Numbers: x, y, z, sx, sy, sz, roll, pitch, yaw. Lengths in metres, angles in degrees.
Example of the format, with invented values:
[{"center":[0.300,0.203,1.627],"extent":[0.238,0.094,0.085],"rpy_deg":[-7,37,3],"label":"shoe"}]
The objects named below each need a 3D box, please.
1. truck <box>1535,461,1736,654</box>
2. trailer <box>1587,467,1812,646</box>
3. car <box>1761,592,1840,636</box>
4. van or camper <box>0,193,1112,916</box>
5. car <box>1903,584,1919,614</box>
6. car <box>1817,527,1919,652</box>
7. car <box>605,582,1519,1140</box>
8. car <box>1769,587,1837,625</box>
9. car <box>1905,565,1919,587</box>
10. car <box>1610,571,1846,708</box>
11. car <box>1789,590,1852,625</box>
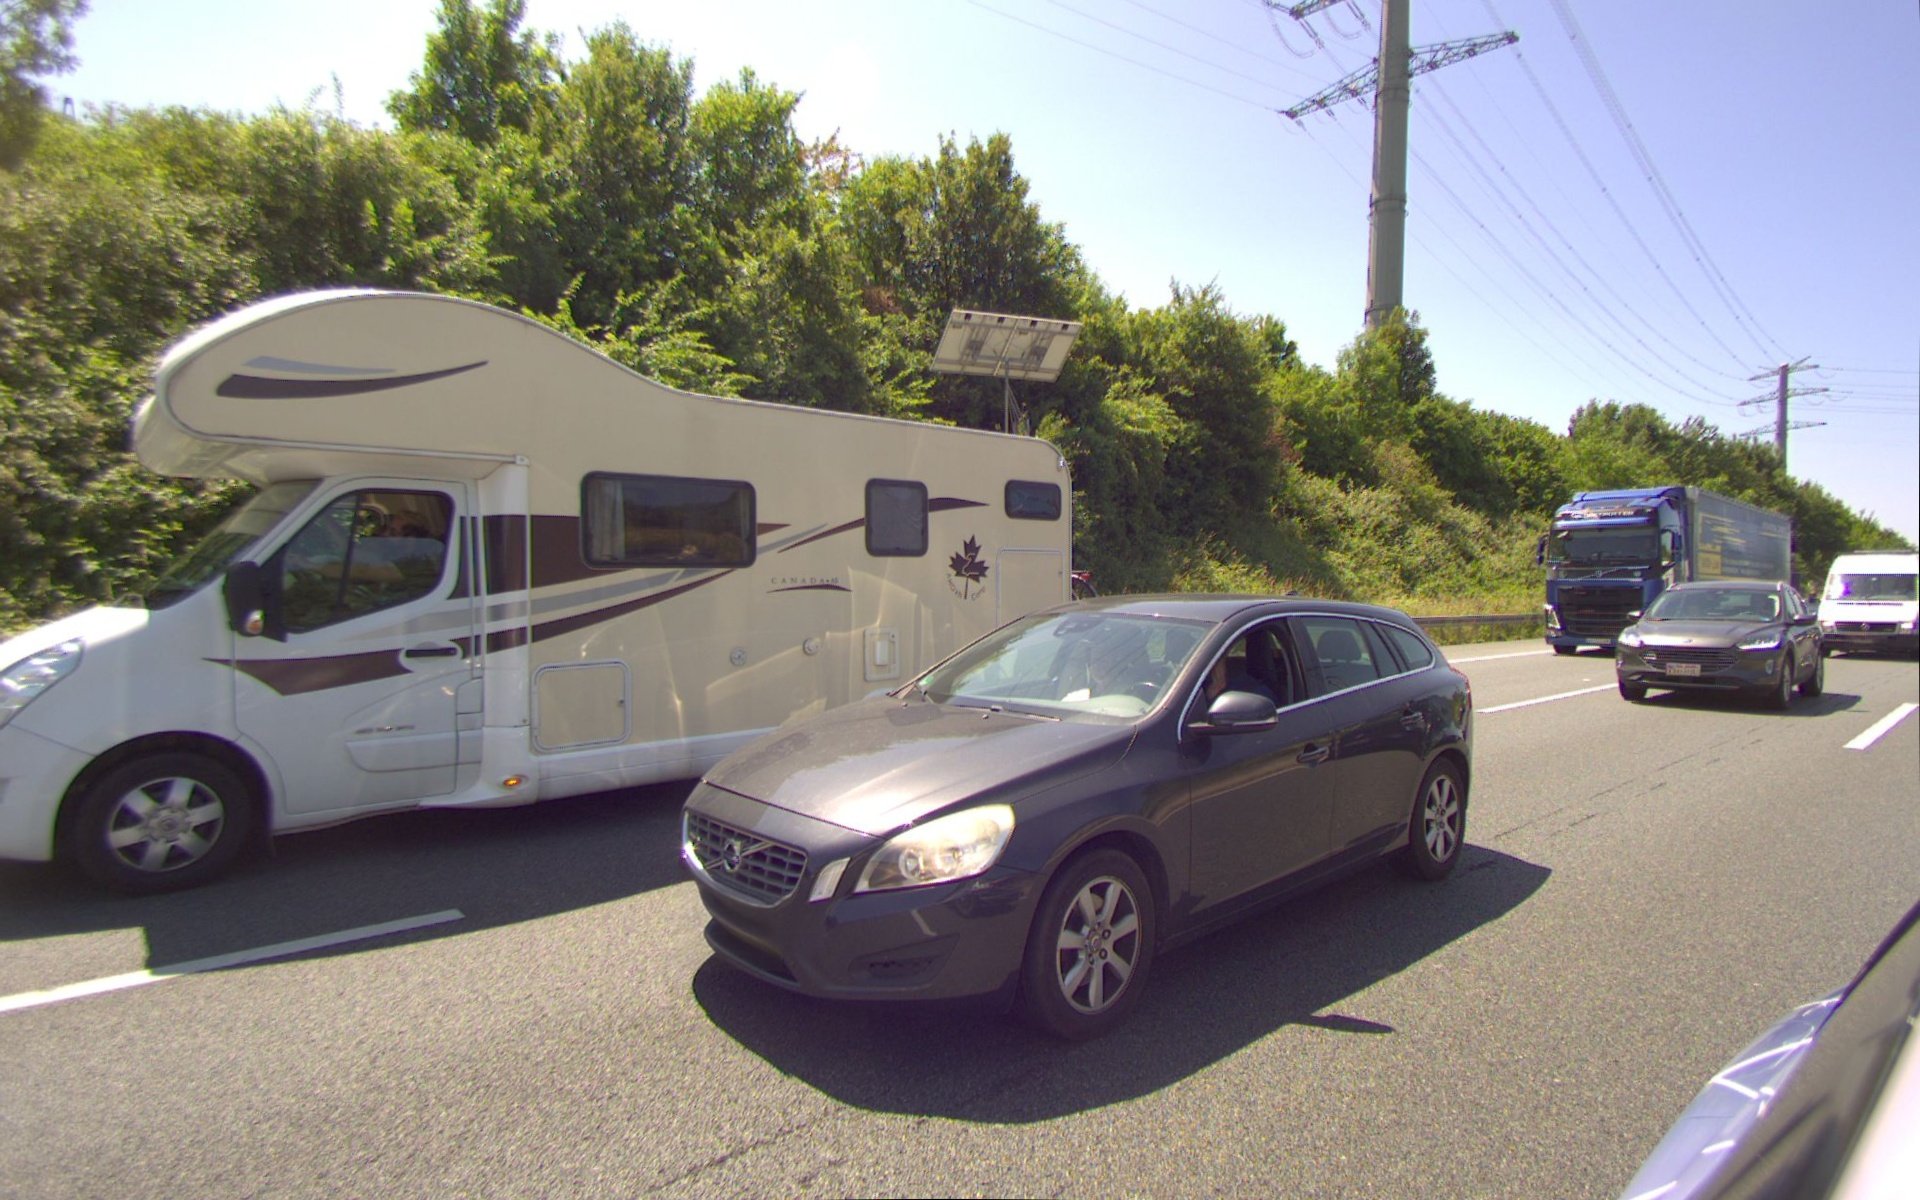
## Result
[{"center":[16.688,-0.954,24.882],"extent":[5.540,4.197,2.789],"rpy_deg":[-1,0,-42],"label":"truck"},{"center":[22.069,-1.142,29.711],"extent":[12.658,4.317,2.771],"rpy_deg":[-1,0,-42],"label":"trailer"},{"center":[31.963,0.489,38.454],"extent":[3.807,1.538,1.718],"rpy_deg":[-1,0,-41],"label":"car"},{"center":[-2.212,-0.244,7.571],"extent":[7.501,3.082,2.372],"rpy_deg":[-1,0,-42],"label":"van or camper"},{"center":[51.515,-0.092,53.755],"extent":[3.807,1.538,1.718],"rpy_deg":[-1,0,-41],"label":"car"},{"center":[23.182,-0.270,25.124],"extent":[6.591,2.753,2.040],"rpy_deg":[-1,0,-42],"label":"car"},{"center":[0.846,0.652,4.787],"extent":[4.432,1.437,1.797],"rpy_deg":[-1,0,-42],"label":"car"},{"center":[36.627,0.235,43.948],"extent":[3.807,1.538,1.718],"rpy_deg":[-1,0,-41],"label":"car"},{"center":[68.592,-1.686,71.899],"extent":[3.807,1.538,1.718],"rpy_deg":[-1,0,-41],"label":"car"},{"center":[10.850,0.444,14.192],"extent":[4.148,1.631,1.891],"rpy_deg":[-1,0,-42],"label":"car"},{"center":[40.277,0.314,47.353],"extent":[3.807,1.538,1.718],"rpy_deg":[-1,0,-41],"label":"car"}]
